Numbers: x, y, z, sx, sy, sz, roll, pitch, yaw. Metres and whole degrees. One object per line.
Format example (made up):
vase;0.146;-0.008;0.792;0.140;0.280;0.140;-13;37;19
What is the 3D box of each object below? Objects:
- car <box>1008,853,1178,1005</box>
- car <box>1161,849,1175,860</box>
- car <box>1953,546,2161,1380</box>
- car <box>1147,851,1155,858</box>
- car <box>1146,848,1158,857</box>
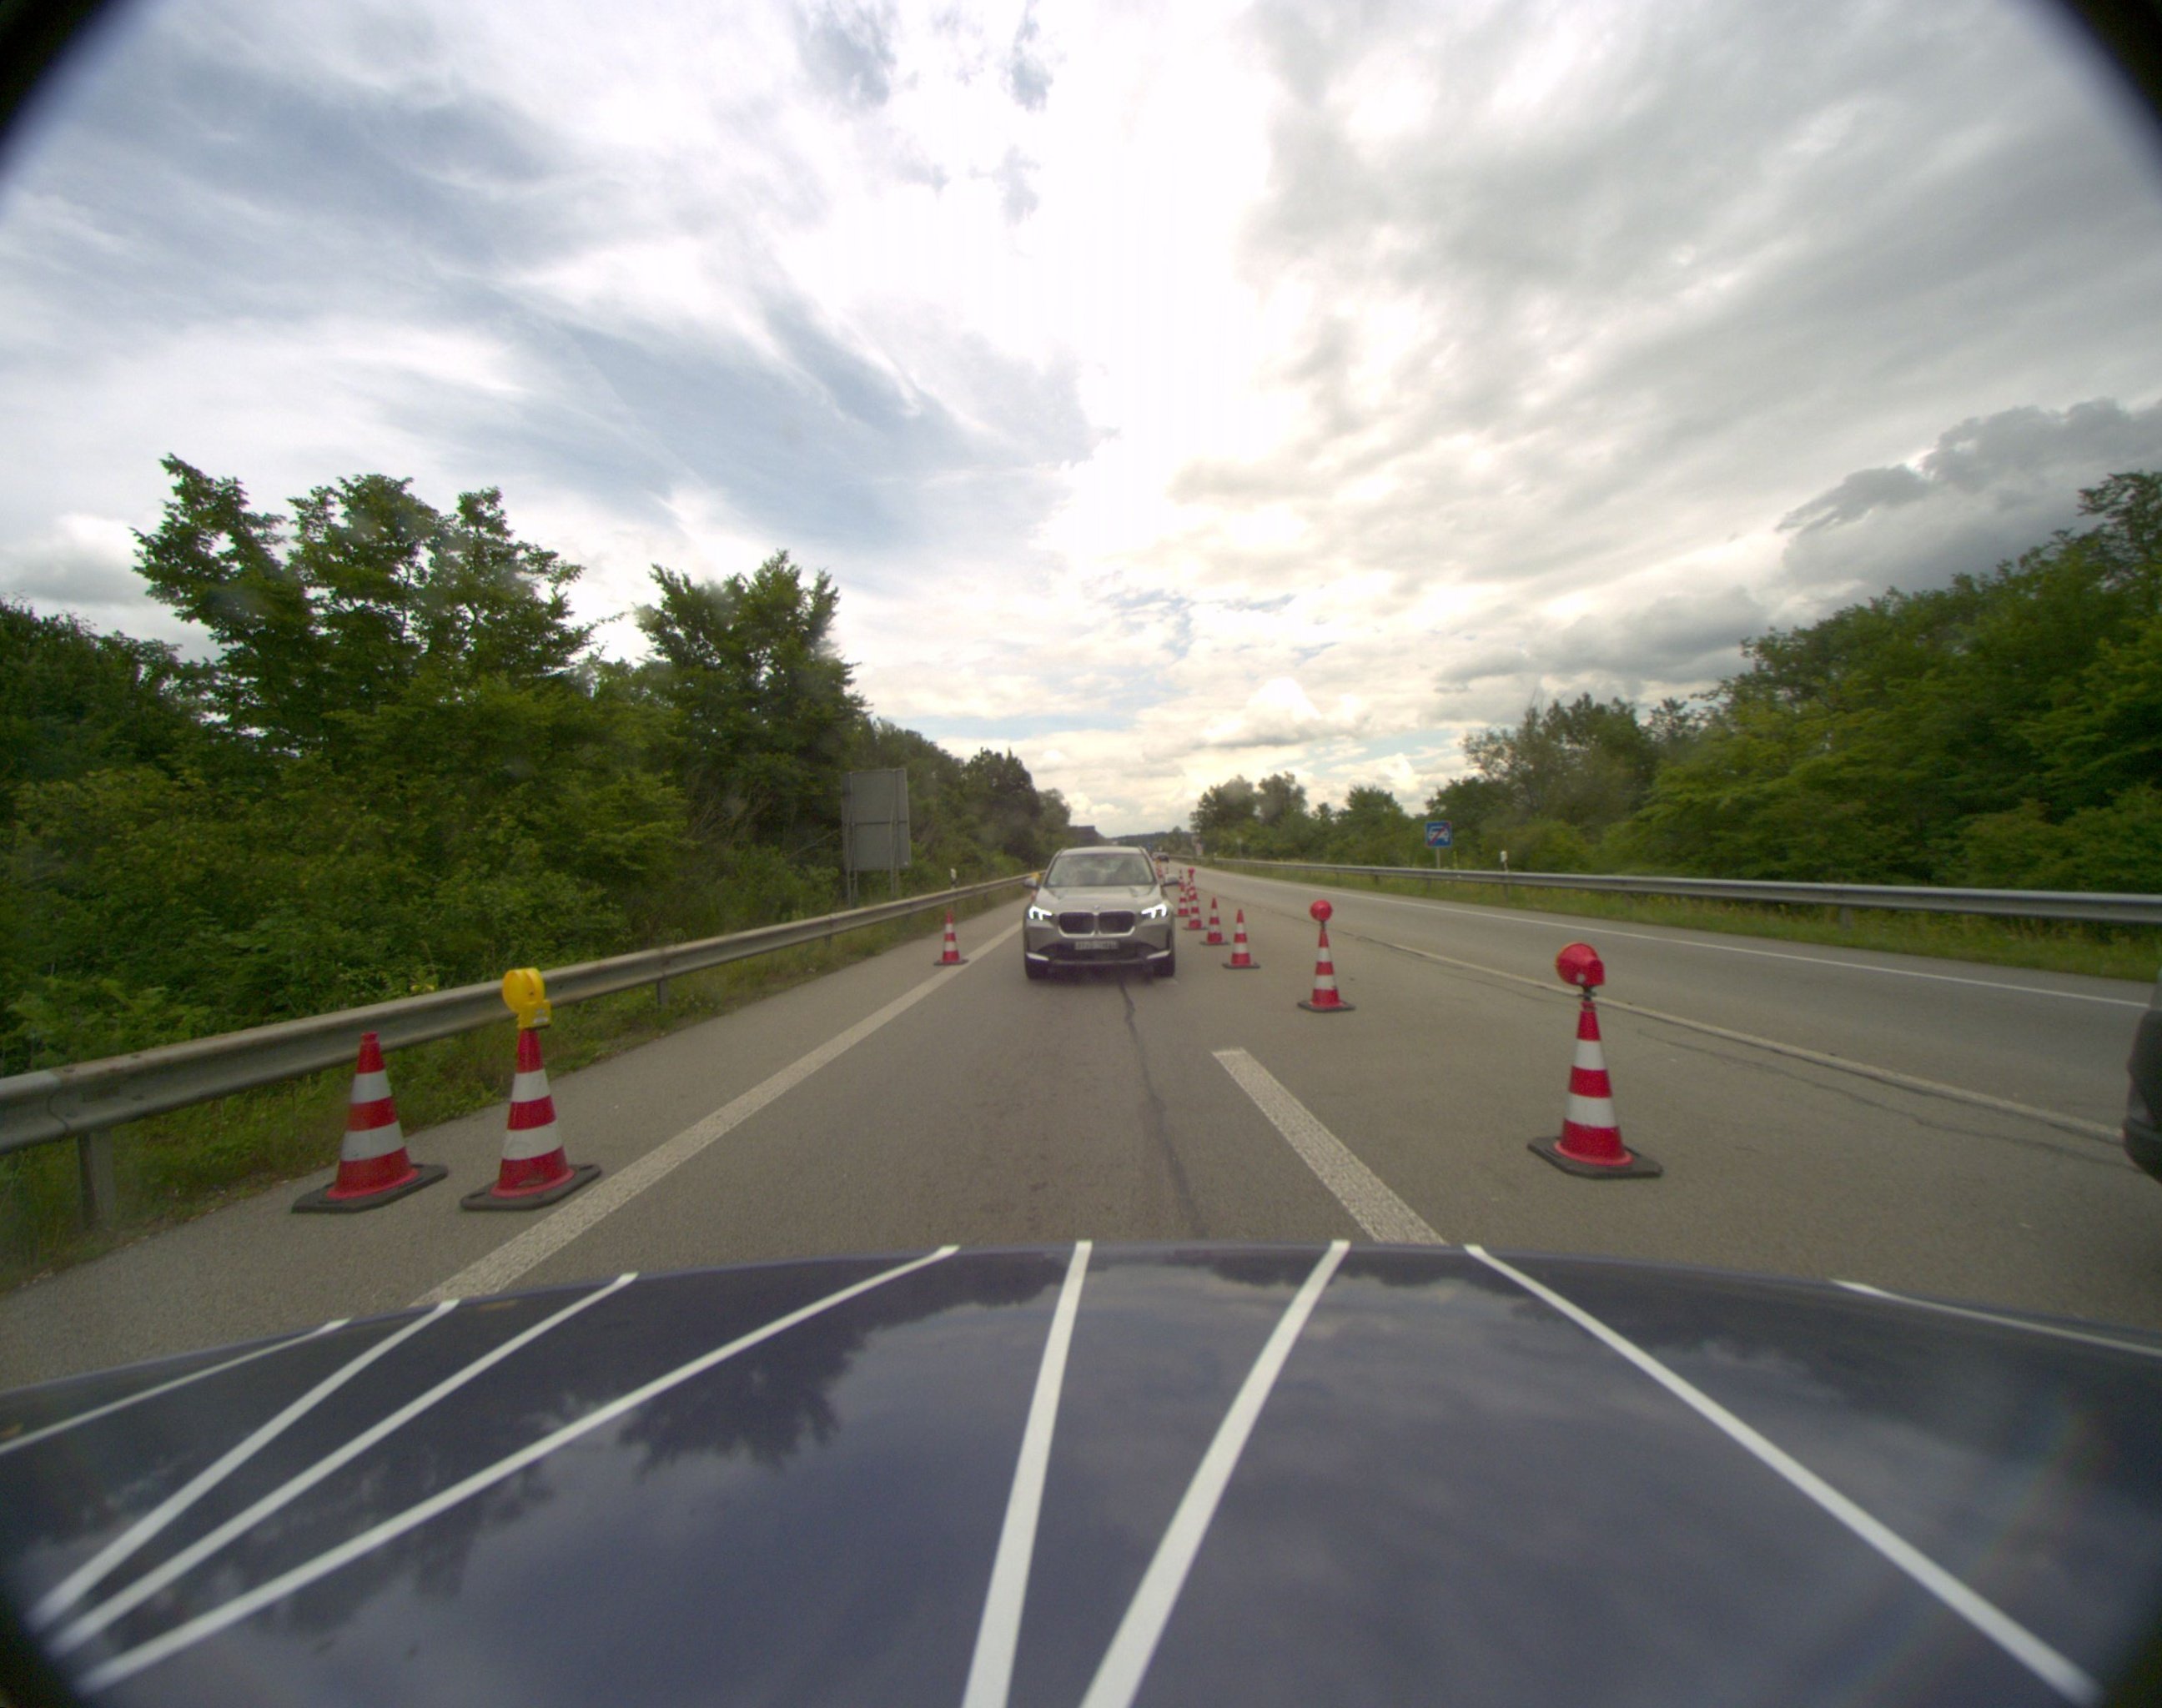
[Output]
car;0.276;0.818;10.515;1.817;1.598;4.434;-2;0;4
car;12.229;0.082;107.229;1.712;1.428;4.337;-2;0;4
car;4.253;0.313;0.132;2.034;2.449;5.278;-2;0;-2
car;20.280;0.199;220.861;2.033;1.976;5.316;-2;0;3
car;12.622;-0.263;134.897;1.683;1.394;4.374;-2;0;-1
